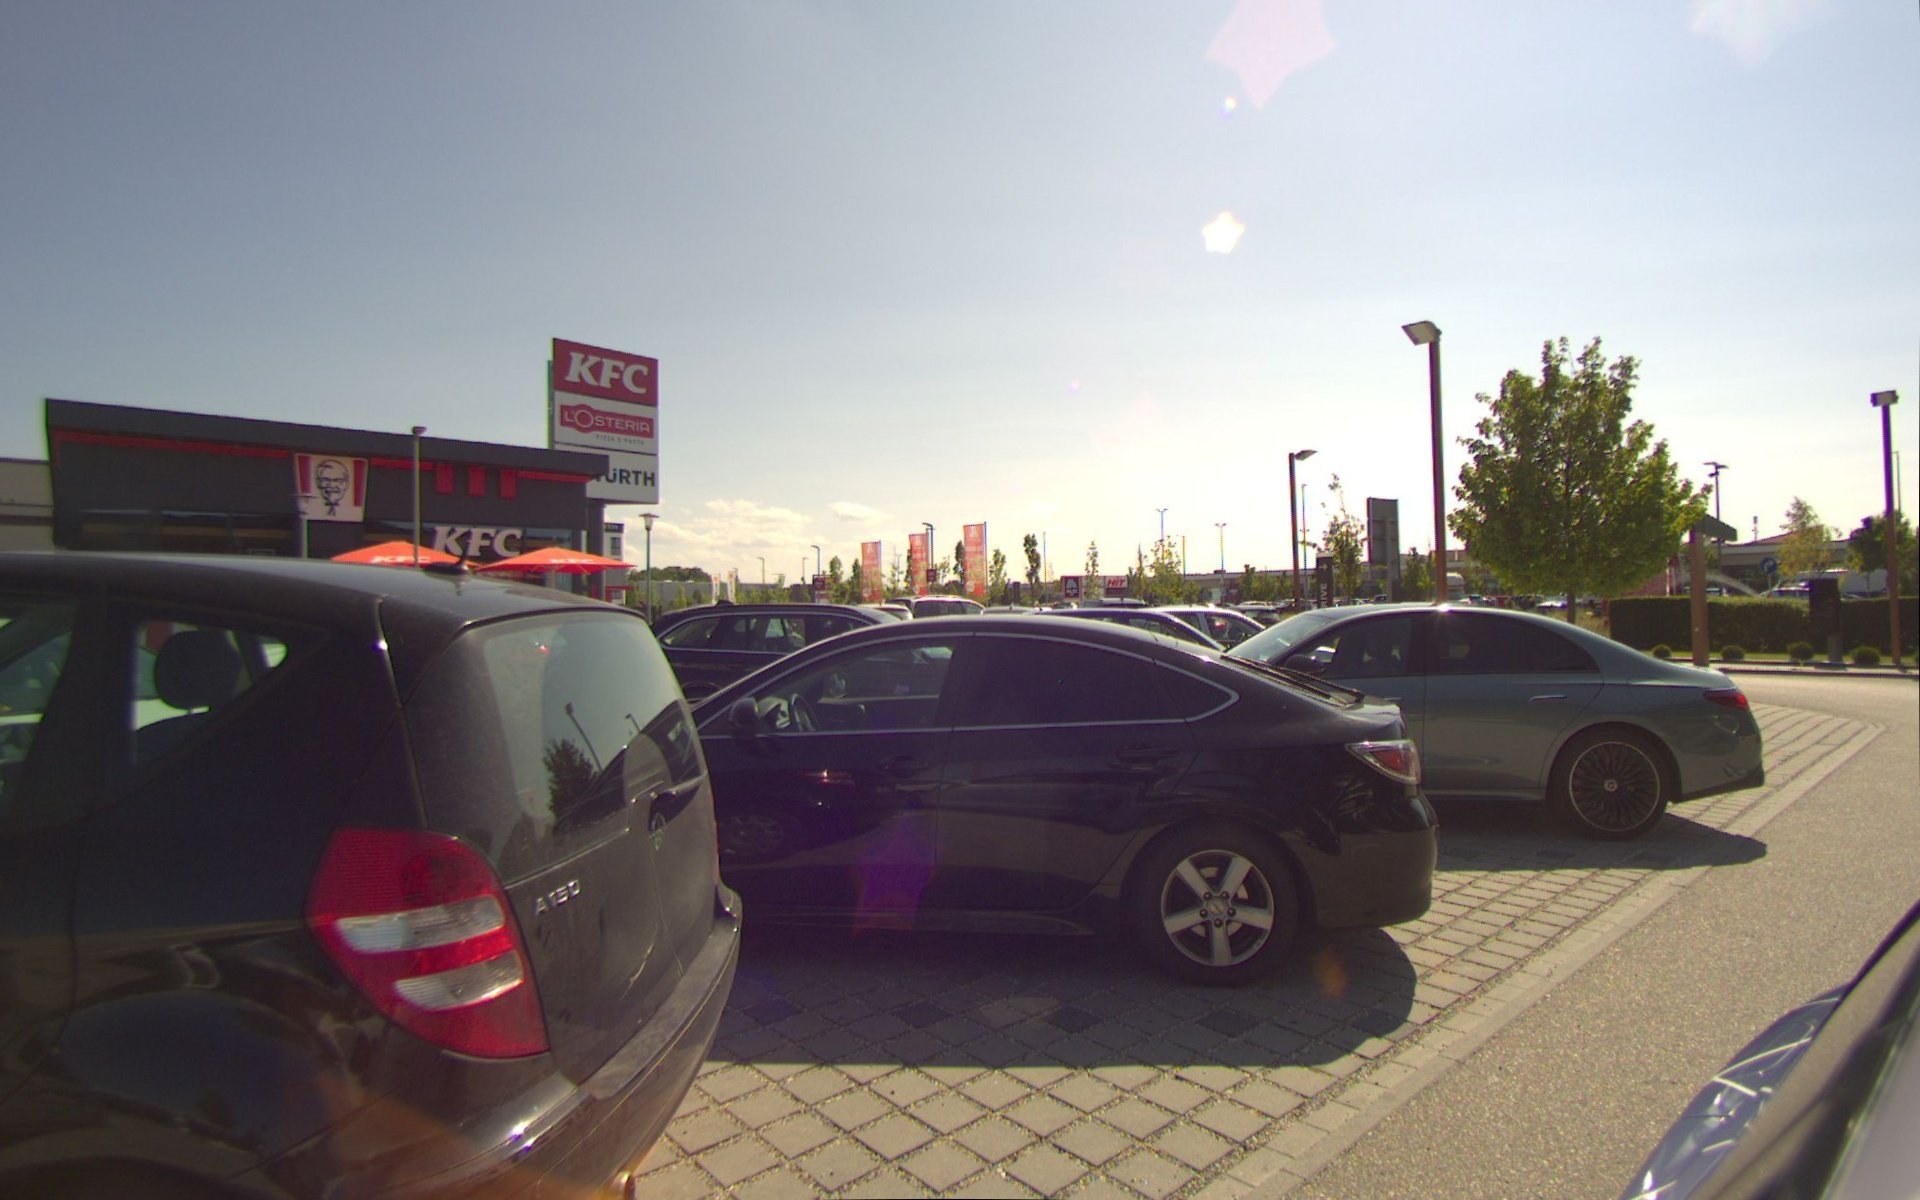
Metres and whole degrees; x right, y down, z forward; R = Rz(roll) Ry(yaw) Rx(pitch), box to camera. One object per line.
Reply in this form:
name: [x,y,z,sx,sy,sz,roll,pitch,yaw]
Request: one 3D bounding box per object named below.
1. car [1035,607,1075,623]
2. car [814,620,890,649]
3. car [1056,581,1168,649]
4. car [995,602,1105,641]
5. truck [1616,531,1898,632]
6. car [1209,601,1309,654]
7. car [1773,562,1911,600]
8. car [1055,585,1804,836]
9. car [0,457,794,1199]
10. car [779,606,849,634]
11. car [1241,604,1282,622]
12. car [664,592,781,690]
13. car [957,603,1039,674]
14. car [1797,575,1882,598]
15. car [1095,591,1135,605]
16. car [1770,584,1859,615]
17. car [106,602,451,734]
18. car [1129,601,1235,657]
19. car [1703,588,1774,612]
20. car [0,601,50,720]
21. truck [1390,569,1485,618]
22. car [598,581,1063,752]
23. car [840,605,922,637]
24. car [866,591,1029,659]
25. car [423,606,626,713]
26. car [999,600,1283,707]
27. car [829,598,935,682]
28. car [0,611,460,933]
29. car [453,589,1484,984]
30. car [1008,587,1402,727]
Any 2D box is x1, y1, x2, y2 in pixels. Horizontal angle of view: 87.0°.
car: [8.716,1.370,92.935,1.725,1.483,4.004,0,-1,-28]
car: [-5.784,1.813,54.103,3.683,1.472,1.687,0,-1,-35]
car: [3.767,0.375,25.843,1.770,1.576,4.060,-1,-1,-7]
car: [3.607,0.828,40.252,4.075,1.416,1.888,0,-1,-35]
truck: [33.975,-0.657,43.572,3.155,3.916,9.112,0,-1,-41]
car: [8.807,0.792,30.103,1.878,1.440,3.773,-1,-1,1]
car: [57.816,-1.191,66.469,2.261,2.273,6.558,0,-1,-42]
car: [2.965,0.717,7.295,4.461,1.530,1.885,-1,-1,4]
car: [-2.533,0.637,2.444,3.926,1.614,1.810,-1,-1,3]
car: [-8.456,1.138,58.766,3.683,1.531,1.687,0,-1,-35]
car: [27.316,1.206,91.676,3.153,1.576,1.543,-1,-1,-15]
car: [-4.234,0.666,17.940,1.783,1.508,4.007,-1,-1,-14]
car: [0.808,0.813,23.230,1.680,1.429,4.680,-1,-1,1]
car: [55.743,-0.848,64.162,1.637,1.359,3.900,0,-1,-42]
car: [16.603,-0.208,108.501,3.966,1.483,1.742,-1,-1,30]
car: [51.738,-0.004,61.329,3.987,1.750,1.864,-1,-1,44]
car: [-8.989,0.800,13.920,1.877,1.490,4.473,-1,-1,-2]
car: [6.117,0.776,28.348,1.762,1.440,4.089,-1,-1,-4]
car: [58.700,0.027,76.305,4.169,1.750,1.897,-1,-1,-10]
car: [-14.857,0.841,13.513,4.013,1.596,1.755,-1,-1,4]
truck: [34.602,-0.448,73.714,2.373,3.394,7.577,-1,0,-9]
car: [-1.174,0.637,10.344,4.338,1.530,1.981,-1,-1,4]
car: [-3.843,1.028,49.527,3.683,1.472,1.687,0,-1,-35]
car: [-0.291,0.666,28.561,4.291,1.772,2.069,0,-1,-41]
car: [-6.561,0.821,15.733,1.784,1.421,4.004,-1,-1,-6]
car: [2.528,0.750,14.731,3.835,1.444,1.704,-1,-1,6]
car: [-1.719,0.767,20.978,1.742,1.531,4.359,-1,-1,-10]
car: [-5.163,0.783,5.537,4.008,1.426,1.792,0,-1,3]
car: [0.003,0.730,4.850,4.003,1.467,1.826,-1,-1,5]
car: [2.781,0.659,12.380,4.338,1.530,1.981,-1,-1,4]
